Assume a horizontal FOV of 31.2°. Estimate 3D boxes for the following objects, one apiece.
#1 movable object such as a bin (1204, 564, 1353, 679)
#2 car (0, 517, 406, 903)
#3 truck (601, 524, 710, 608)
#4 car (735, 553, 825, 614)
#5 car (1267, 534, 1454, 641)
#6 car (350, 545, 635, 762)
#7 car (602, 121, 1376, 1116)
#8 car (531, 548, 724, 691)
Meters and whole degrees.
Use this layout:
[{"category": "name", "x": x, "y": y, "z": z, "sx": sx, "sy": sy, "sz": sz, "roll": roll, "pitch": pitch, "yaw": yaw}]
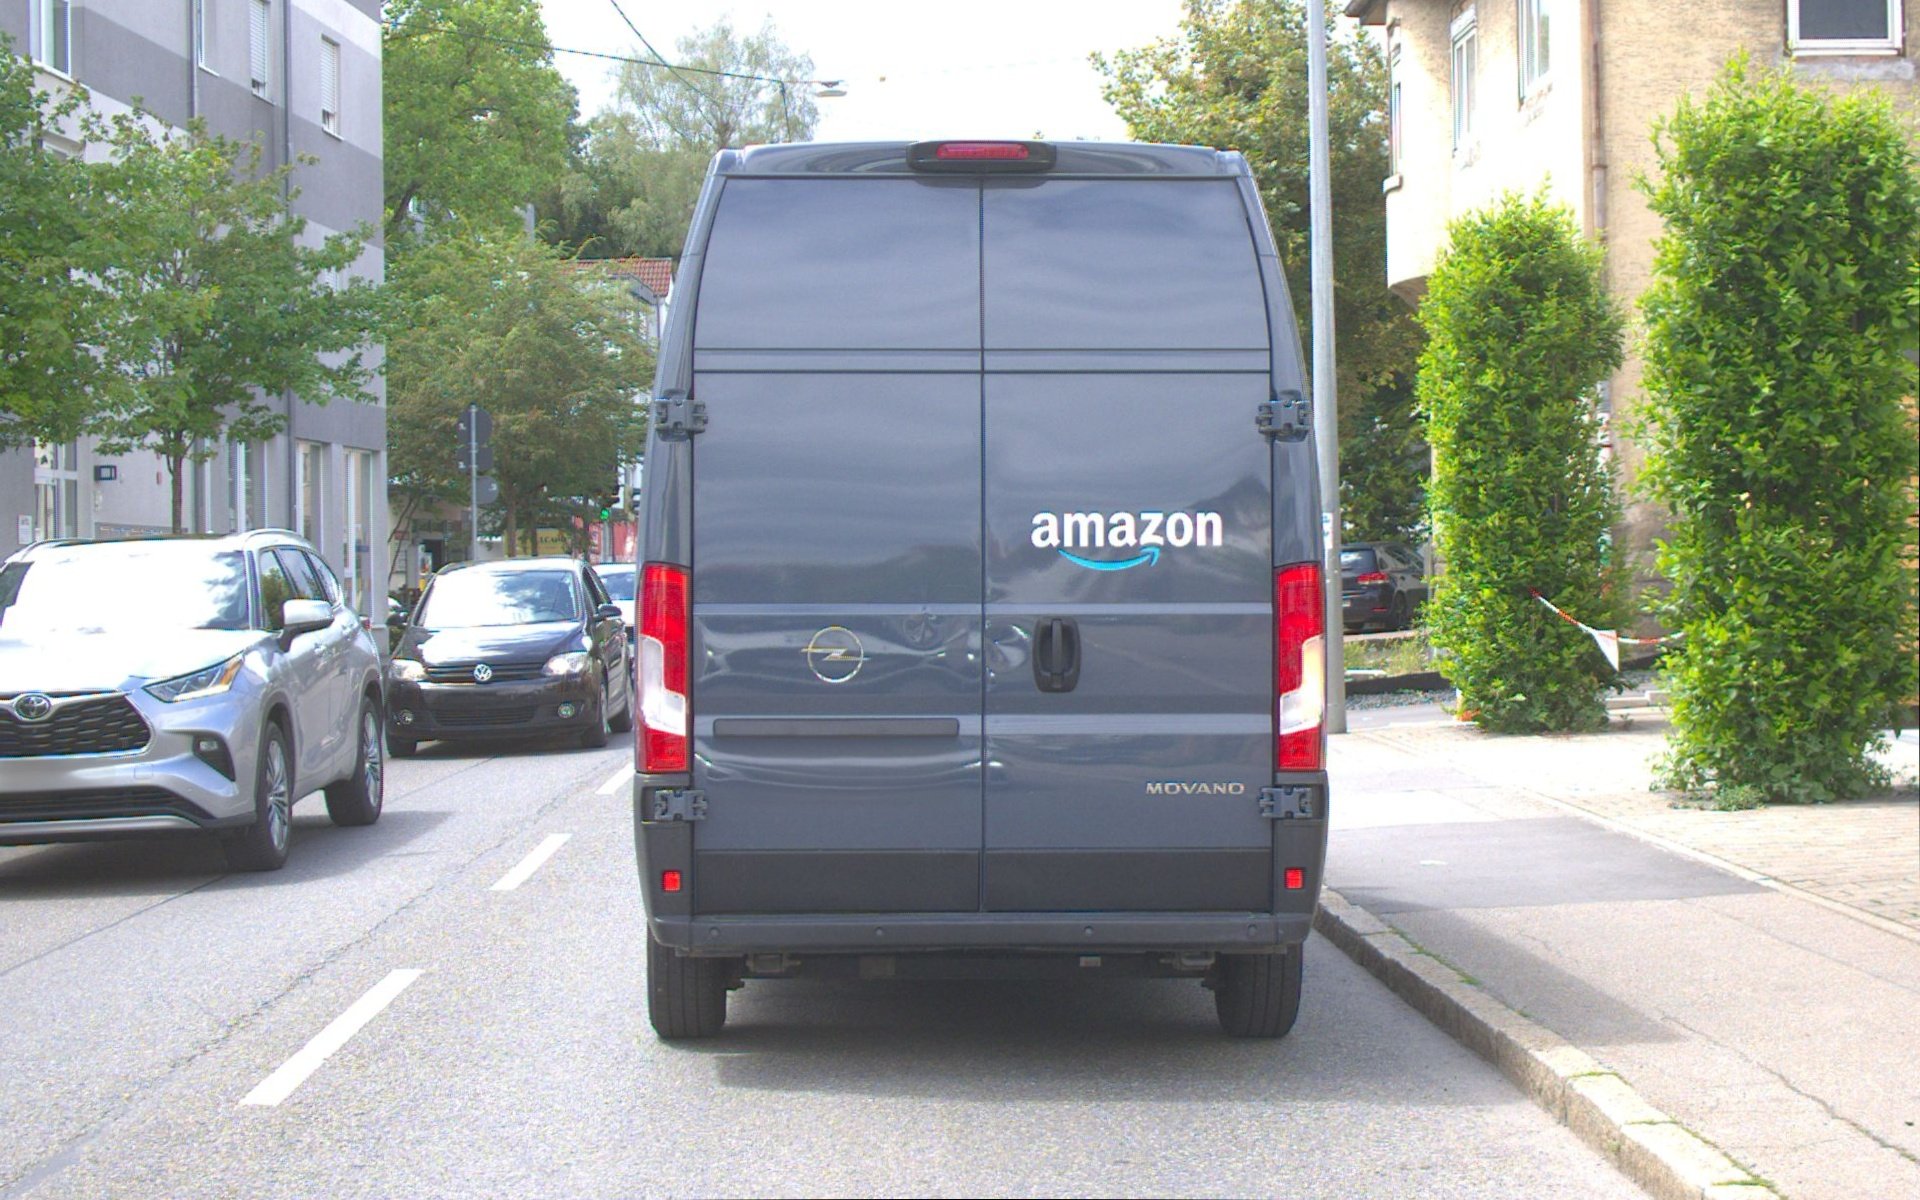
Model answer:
[{"category": "movable object such as a bin", "x": 3.582, "y": 0.228, "z": 38.747, "sx": 1.182, "sy": 1.261, "sz": 1.210, "roll": -1, "pitch": 1, "yaw": -30}, {"category": "car", "x": -4.374, "y": 0.511, "z": 18.375, "sx": 1.986, "sy": 1.731, "sz": 4.796, "roll": -3, "pitch": 1, "yaw": 0}, {"category": "truck", "x": -8.902, "y": -0.981, "z": 100.928, "sx": 2.225, "sy": 2.372, "sz": 6.325, "roll": 0, "pitch": 0, "yaw": 4}, {"category": "car", "x": -4.276, "y": -0.406, "z": 82.296, "sx": 1.874, "sy": 1.419, "sz": 4.115, "roll": 0, "pitch": 1, "yaw": 1}, {"category": "car", "x": 6.673, "y": -0.232, "z": 56.928, "sx": 1.754, "sy": 1.512, "sz": 4.074, "roll": -4, "pitch": 1, "yaw": 25}, {"category": "car", "x": -3.761, "y": 0.383, "z": 28.299, "sx": 1.832, "sy": 1.579, "sz": 4.038, "roll": -2, "pitch": 1, "yaw": -1}, {"category": "car", "x": -0.042, "y": 0.008, "z": 12.707, "sx": 2.147, "sy": 2.761, "sz": 6.250, "roll": 0, "pitch": 1, "yaw": -2}, {"category": "car", "x": -4.031, "y": 0.193, "z": 42.389, "sx": 1.897, "sy": 1.554, "sz": 4.801, "roll": -3, "pitch": 1, "yaw": -1}]
